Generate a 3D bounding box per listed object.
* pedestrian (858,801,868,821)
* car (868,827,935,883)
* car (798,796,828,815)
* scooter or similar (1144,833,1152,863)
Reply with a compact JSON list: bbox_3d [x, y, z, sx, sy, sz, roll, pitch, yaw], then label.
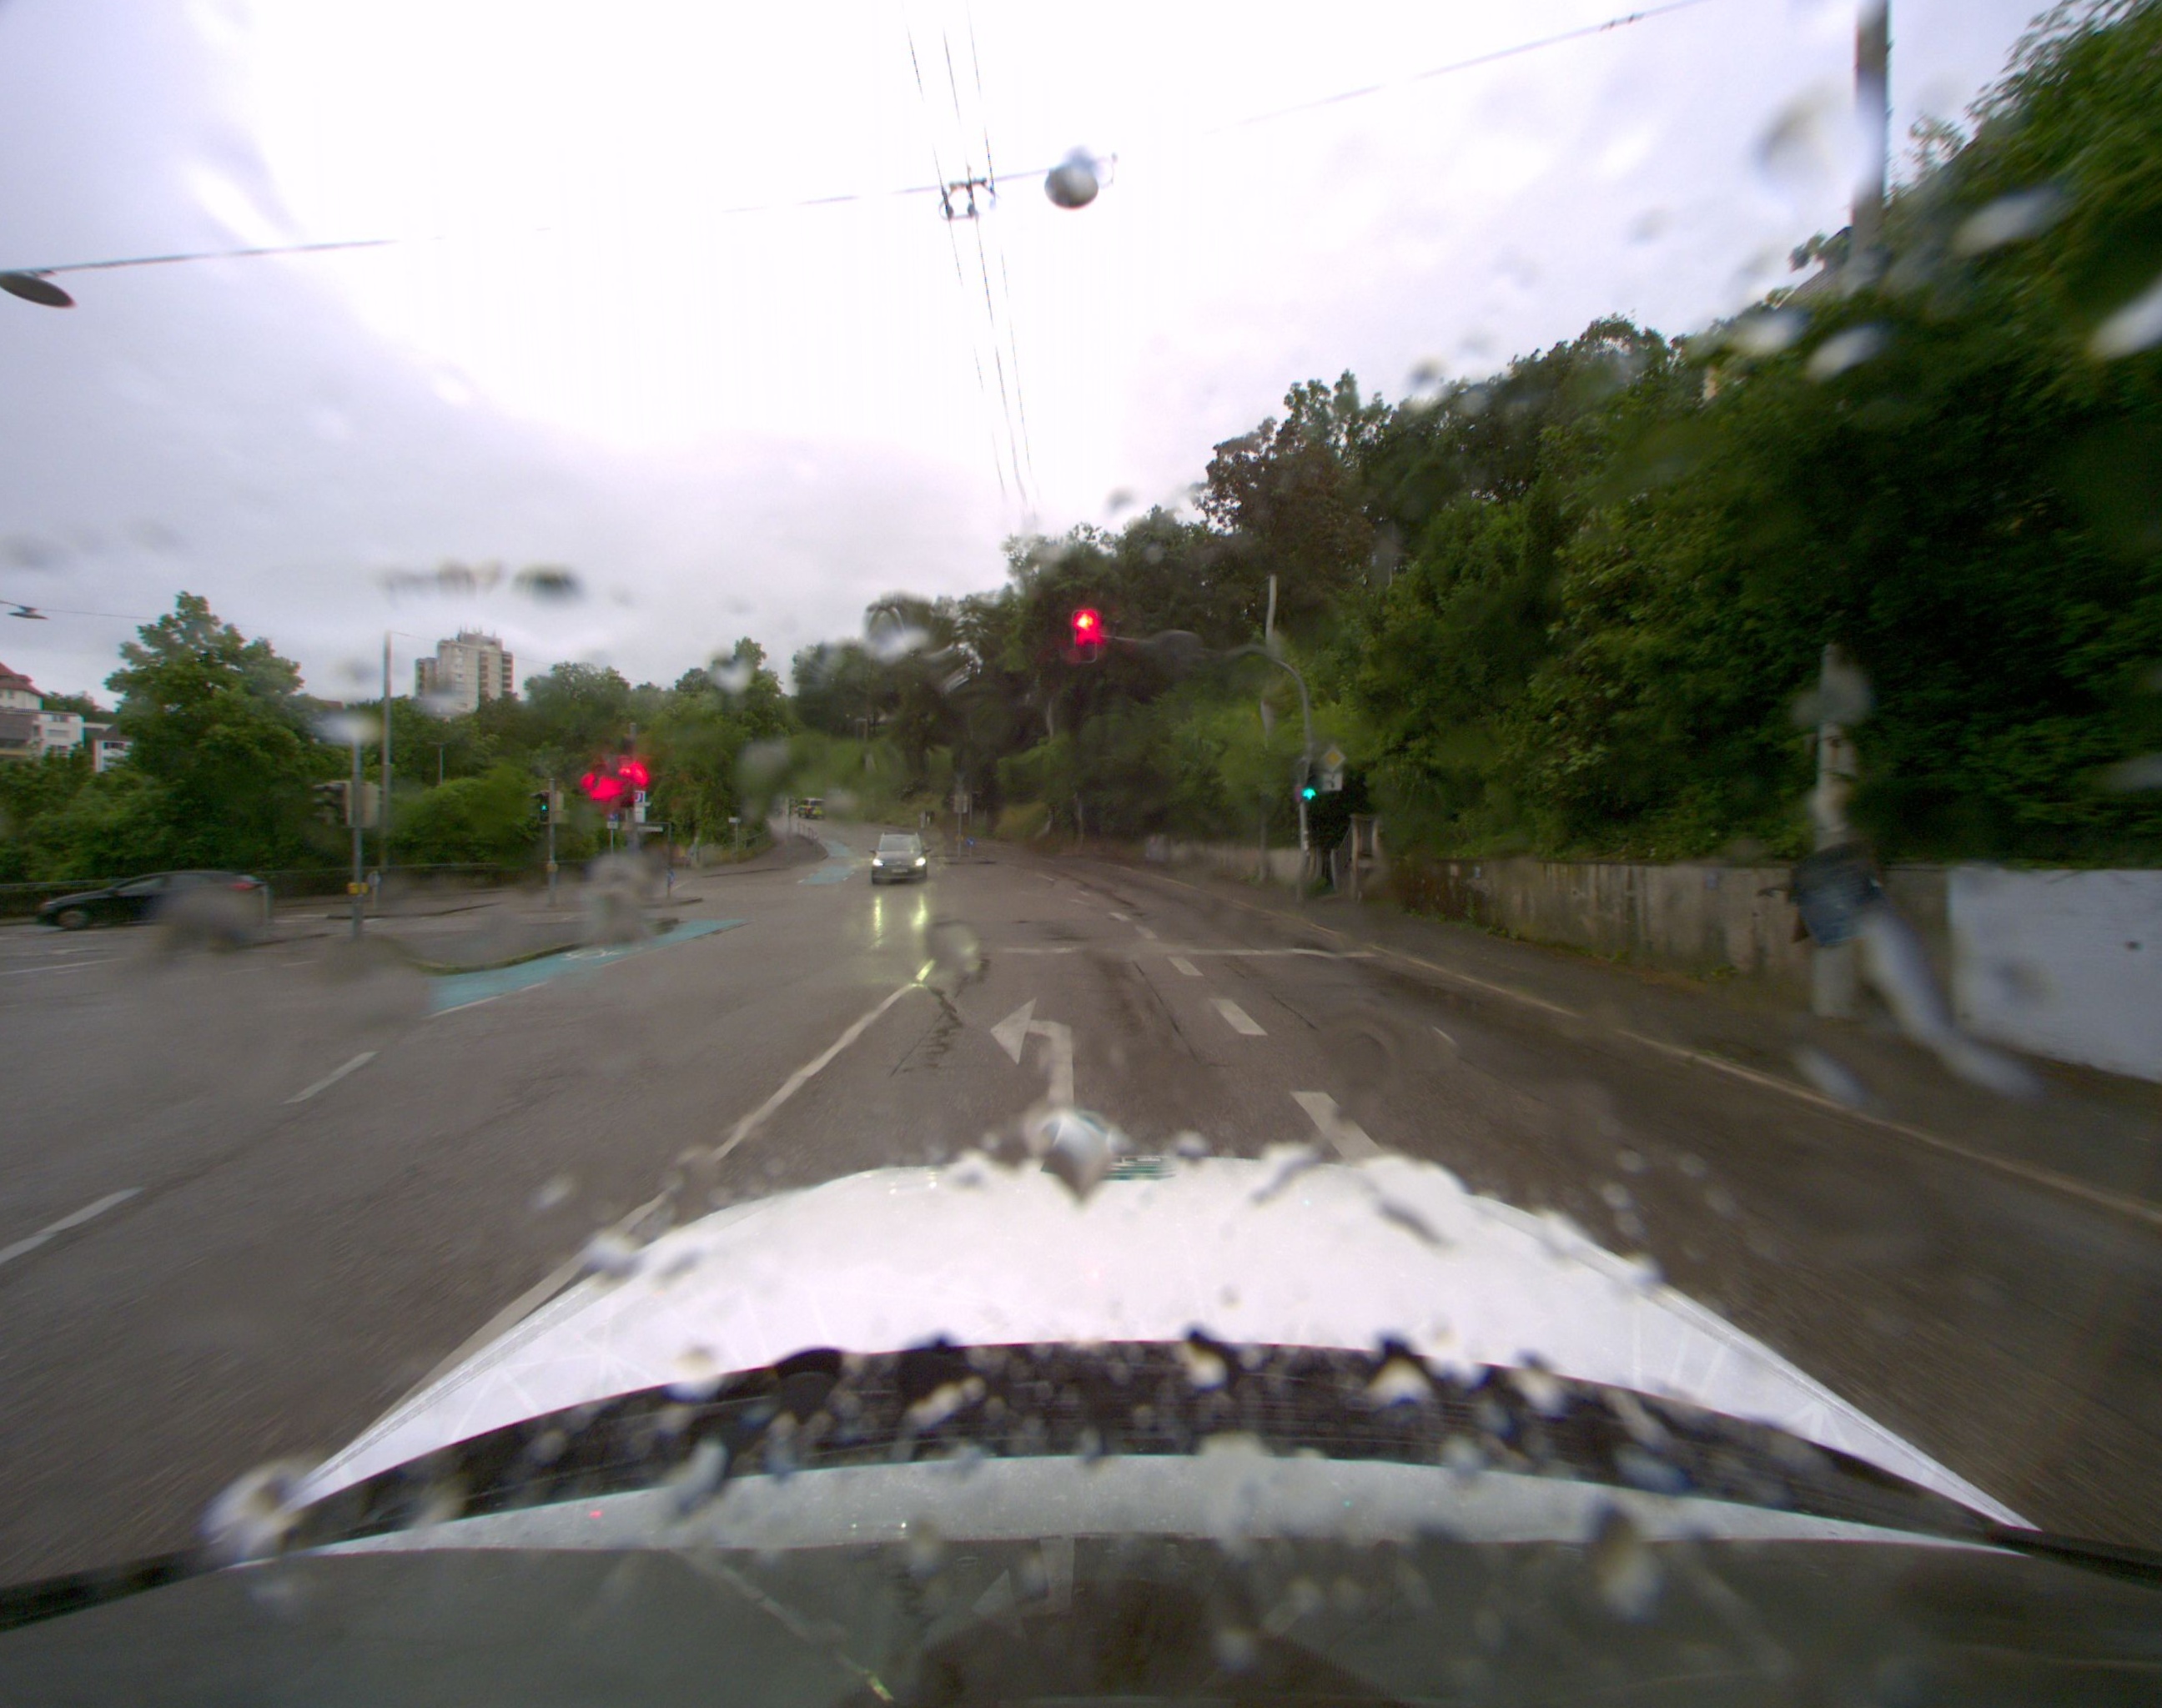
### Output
[{"bbox_3d":[-20.533,-4.049,76.778,0.883,1.736,0.860,0,-1,-19],"label":"pedestrian"},{"bbox_3d":[-6.115,-0.037,28.169,1.847,1.679,4.163,-2,2,-8],"label":"car"},{"bbox_3d":[-26.694,-4.788,81.010,1.931,1.780,3.960,0,2,-33],"label":"car"},{"bbox_3d":[2.979,-0.288,35.979,0.320,1.279,0.753,0,3,6],"label":"scooter or similar"}]
